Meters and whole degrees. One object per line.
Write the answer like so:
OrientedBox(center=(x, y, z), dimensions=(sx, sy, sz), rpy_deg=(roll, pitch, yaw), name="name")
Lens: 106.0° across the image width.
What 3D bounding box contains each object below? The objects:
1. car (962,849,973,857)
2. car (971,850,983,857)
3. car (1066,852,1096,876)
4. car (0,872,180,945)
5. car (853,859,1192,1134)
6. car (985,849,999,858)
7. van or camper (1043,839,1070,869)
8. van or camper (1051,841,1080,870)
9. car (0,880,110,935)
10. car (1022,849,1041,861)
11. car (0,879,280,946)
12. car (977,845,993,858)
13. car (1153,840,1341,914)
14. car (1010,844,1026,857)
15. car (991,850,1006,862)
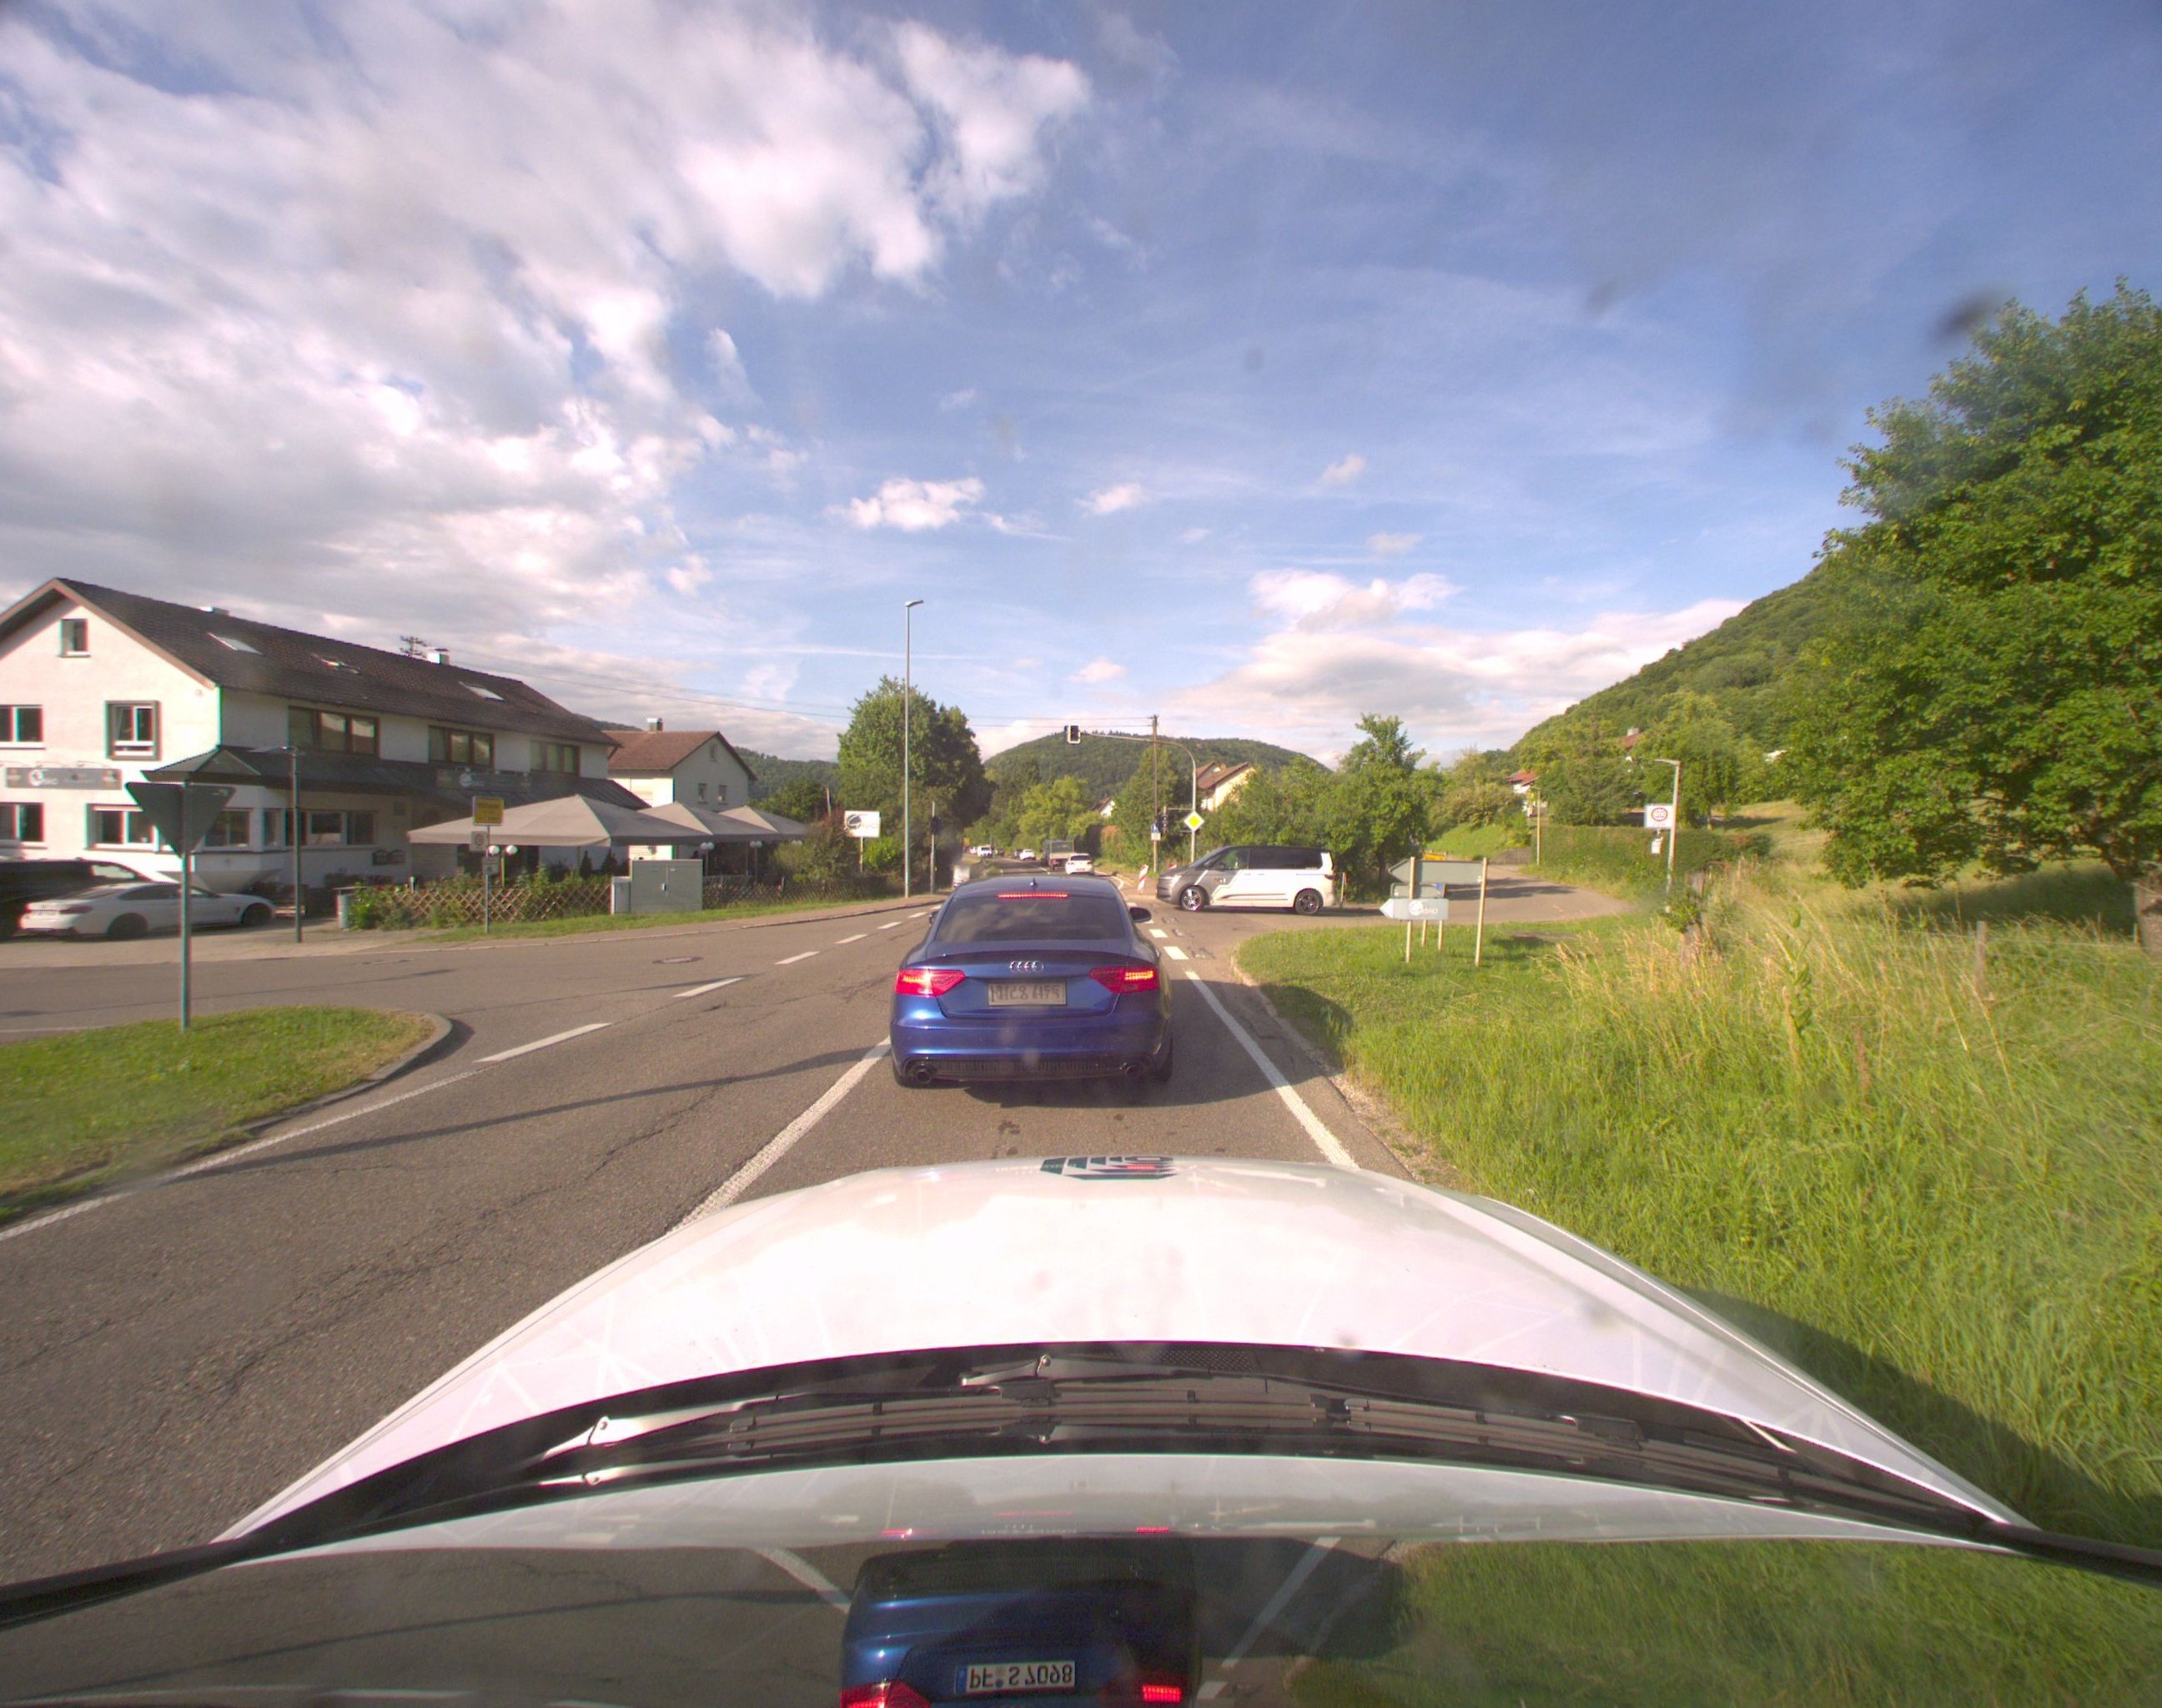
OrientedBox(center=(-24.840, -0.154, 178.508), dimensions=(1.776, 1.783, 3.978), rpy_deg=(-1, 0, -16), name="car")
OrientedBox(center=(-21.226, -0.044, 166.050), dimensions=(1.946, 1.424, 3.978), rpy_deg=(-1, 1, -16), name="car")
OrientedBox(center=(0.011, 0.612, 51.146), dimensions=(1.765, 1.415, 4.174), rpy_deg=(1, 0, 0), name="car")
OrientedBox(center=(-27.337, 1.398, 21.414), dimensions=(1.984, 1.685, 4.582), rpy_deg=(-2, 0, 5), name="car")
OrientedBox(center=(-0.310, 0.796, 6.596), dimensions=(1.824, 1.409, 4.226), rpy_deg=(-2, 0, 0), name="car")
OrientedBox(center=(-16.371, -0.133, 148.923), dimensions=(2.044, 1.684, 3.981), rpy_deg=(-1, 1, -14), name="car")
OrientedBox(center=(-2.550, -0.031, 82.915), dimensions=(2.410, 2.904, 6.122), rpy_deg=(-1, 0, -4), name="van or camper")
OrientedBox(center=(-1.331, 0.110, 69.046), dimensions=(2.176, 2.385, 5.362), rpy_deg=(-1, 0, -4), name="van or camper")
OrientedBox(center=(-30.406, 1.533, 22.281), dimensions=(1.984, 1.389, 4.582), rpy_deg=(-2, 0, 5), name="car")
OrientedBox(center=(-6.520, 0.085, 106.566), dimensions=(1.821, 1.552, 3.983), rpy_deg=(-1, 1, -12), name="car")
OrientedBox(center=(-24.645, 1.462, 21.609), dimensions=(1.984, 1.389, 4.582), rpy_deg=(-2, 0, 5), name="car")
OrientedBox(center=(-15.112, -0.453, 128.092), dimensions=(1.995, 1.903, 5.232), rpy_deg=(-2, 1, -11), name="car")
OrientedBox(center=(4.557, 0.608, 22.854), dimensions=(4.841, 1.876, 1.999), rpy_deg=(1, 1, -2), name="car")
OrientedBox(center=(-9.145, -0.455, 117.900), dimensions=(1.798, 1.794, 3.983), rpy_deg=(-1, 0, -12), name="car")
OrientedBox(center=(-14.113, 0.380, 139.844), dimensions=(1.996, 2.013, 3.981), rpy_deg=(-1, 1, -14), name="car")
